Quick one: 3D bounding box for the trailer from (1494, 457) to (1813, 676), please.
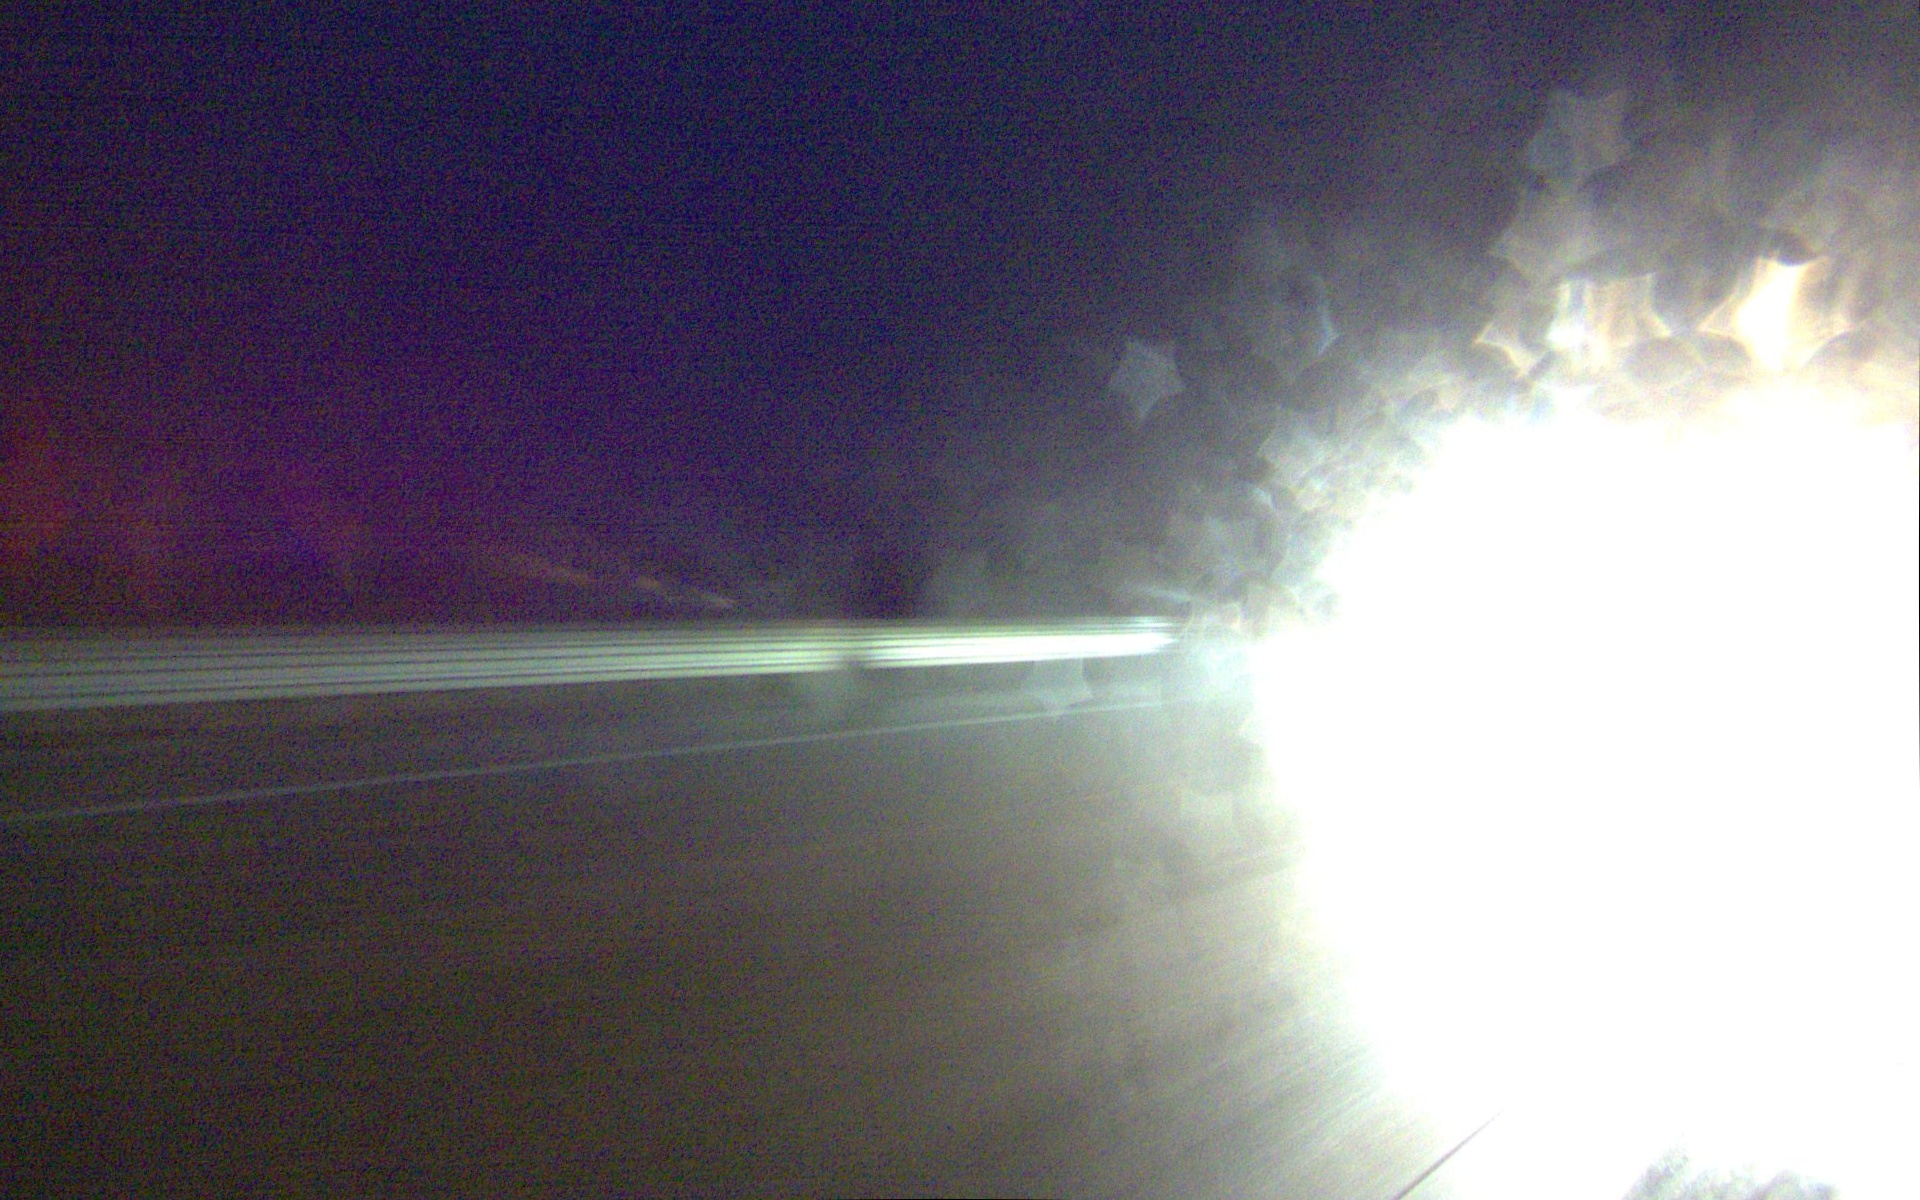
[{"bbox_3d":[17.700,-0.650,25.026,14.233,4.159,2.909,1,2,-41],"label":"trailer"}]

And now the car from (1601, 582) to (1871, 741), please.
[{"bbox_3d":[9.558,0.607,12.328,4.415,1.595,1.744,0,1,-41],"label":"car"}]

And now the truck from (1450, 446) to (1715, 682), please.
[{"bbox_3d":[12.937,-0.676,20.866,5.925,4.159,2.909,1,2,-41],"label":"truck"}]
